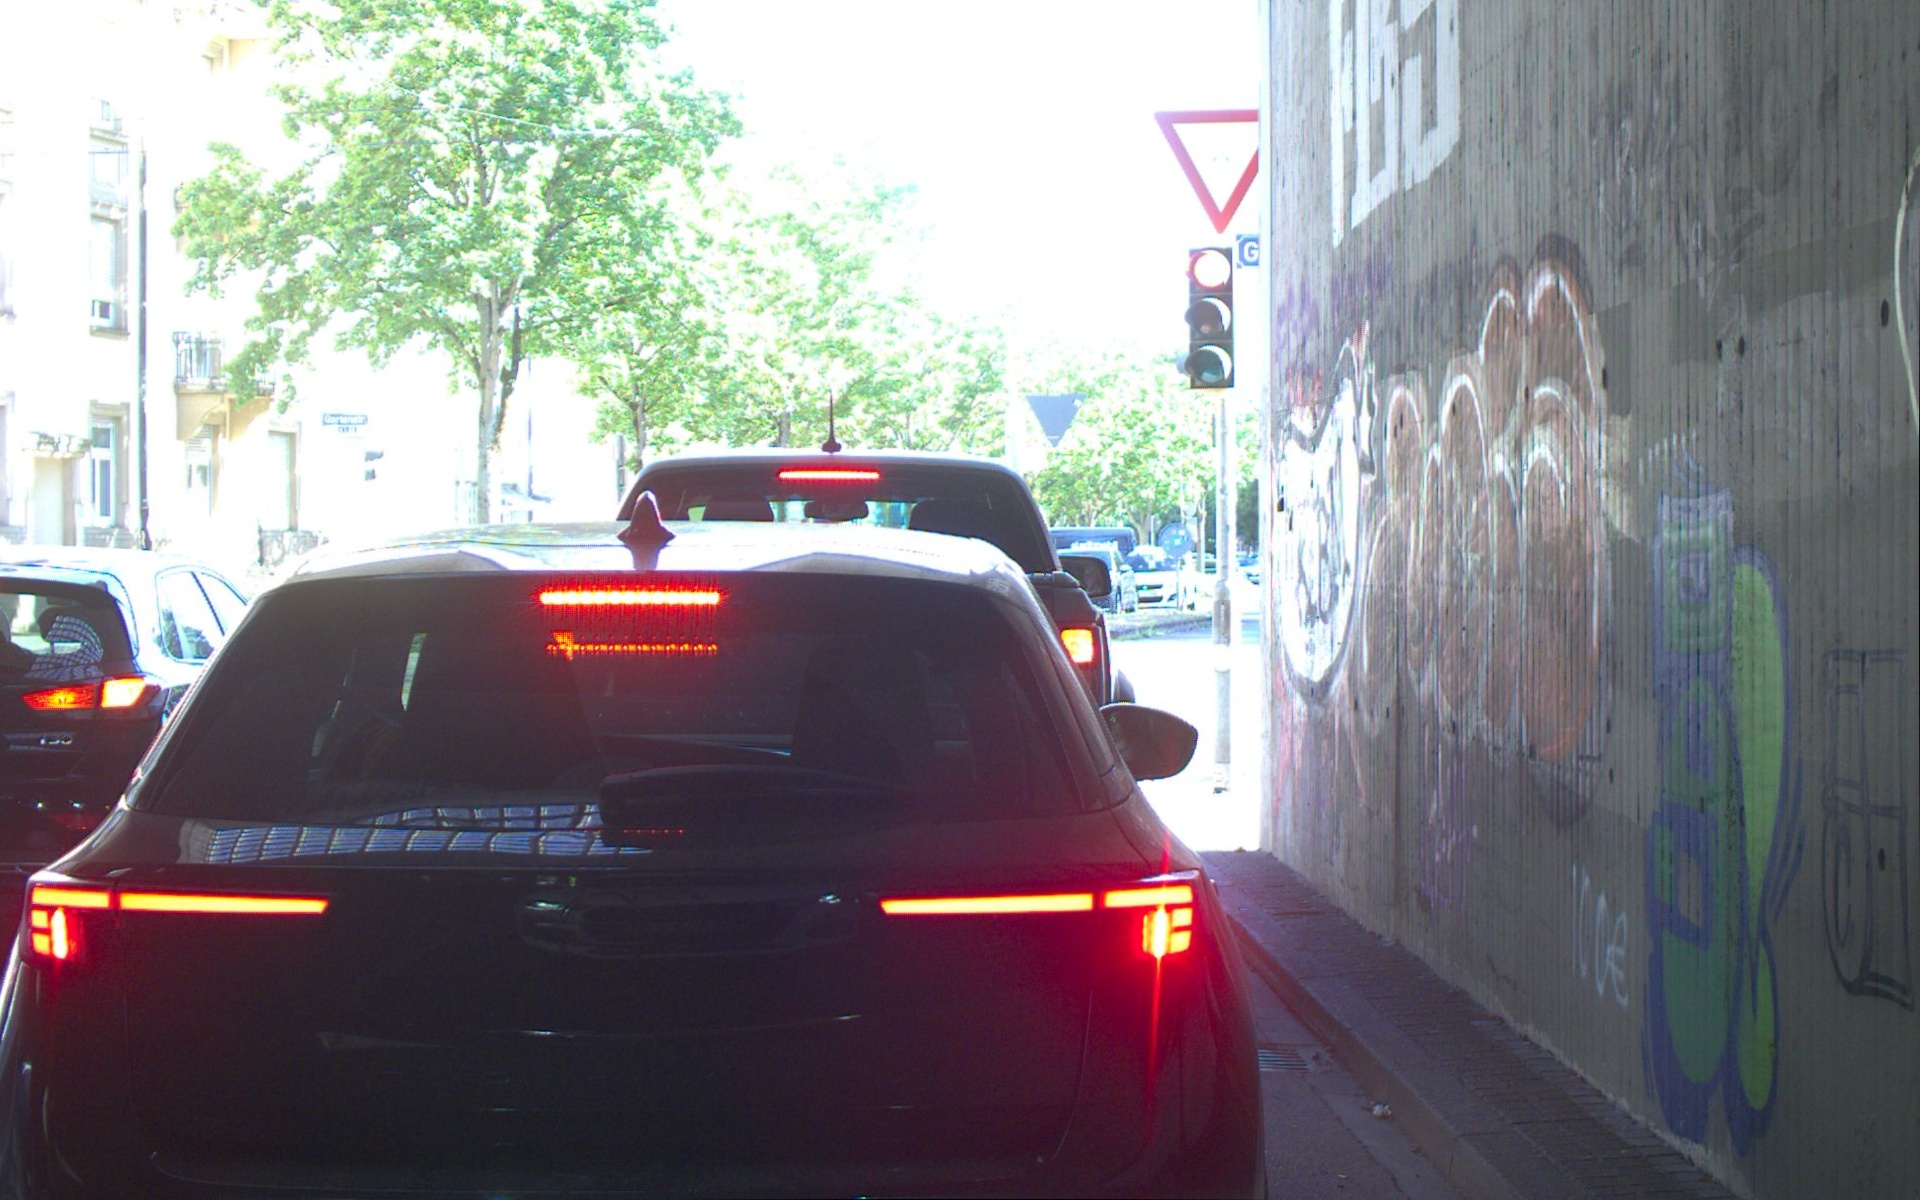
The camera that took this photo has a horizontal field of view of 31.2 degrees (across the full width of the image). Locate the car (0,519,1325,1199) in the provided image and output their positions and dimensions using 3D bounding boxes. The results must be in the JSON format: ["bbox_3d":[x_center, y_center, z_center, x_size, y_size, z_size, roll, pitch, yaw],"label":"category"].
[{"bbox_3d":[-0.474,0.635,6.113,1.762,1.526,4.089,0,1,-1],"label":"car"}]

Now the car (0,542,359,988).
[{"bbox_3d":[-3.524,0.516,13.301,1.762,1.475,3.844,0,1,-1],"label":"car"}]

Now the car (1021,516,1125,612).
[{"bbox_3d":[2.077,-0.653,62.209,1.754,1.661,3.944,1,1,3],"label":"car"}]

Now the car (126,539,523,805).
[{"bbox_3d":[-3.774,0.370,21.025,1.762,1.475,3.844,0,1,-1],"label":"car"}]

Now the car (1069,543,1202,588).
[{"bbox_3d":[6.822,-1.348,133.788,4.798,1.661,1.824,1,1,-21],"label":"car"}]

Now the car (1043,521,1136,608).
[{"bbox_3d":[2.597,-0.707,68.328,1.754,1.661,3.944,1,1,3],"label":"car"}]

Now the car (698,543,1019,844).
[{"bbox_3d":[-0.532,0.435,19.273,1.609,1.508,4.054,0,1,-1],"label":"car"}]

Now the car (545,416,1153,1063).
[{"bbox_3d":[-0.347,0.373,12.053,1.762,1.876,4.146,0,1,-1],"label":"car"}]

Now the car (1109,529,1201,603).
[{"bbox_3d":[4.594,-0.800,80.432,1.754,1.661,3.943,1,1,9],"label":"car"}]
